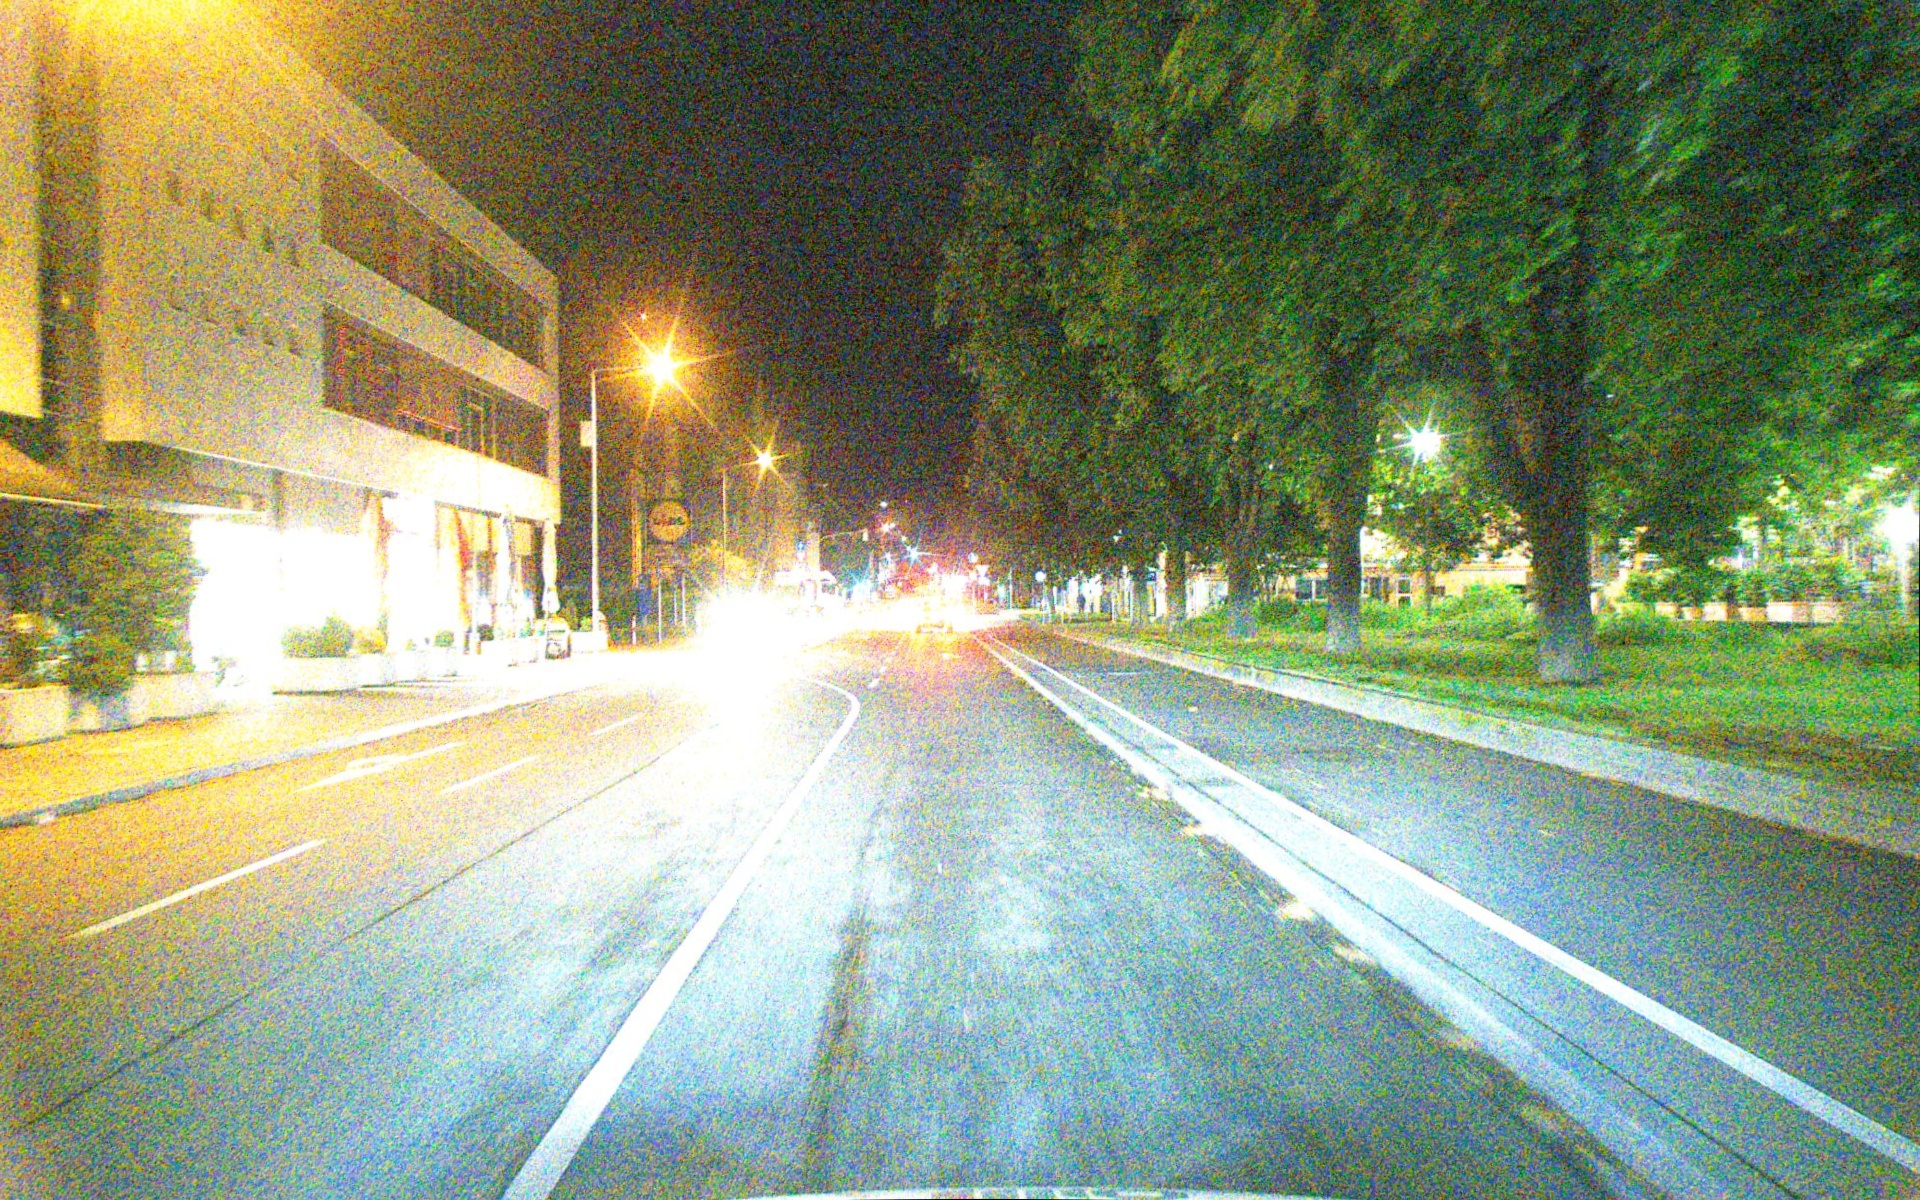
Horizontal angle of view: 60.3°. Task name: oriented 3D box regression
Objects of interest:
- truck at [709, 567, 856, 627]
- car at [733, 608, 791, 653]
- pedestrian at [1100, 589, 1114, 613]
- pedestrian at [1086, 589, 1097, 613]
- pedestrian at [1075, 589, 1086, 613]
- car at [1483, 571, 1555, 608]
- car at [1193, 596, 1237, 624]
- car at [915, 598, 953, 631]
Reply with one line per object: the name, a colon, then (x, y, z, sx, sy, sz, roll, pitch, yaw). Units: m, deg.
truck: (-12.404, -0.216, 116.259, 9.873, 3.783, 2.764, -3, 0, 0)
car: (-6.925, 1.053, 58.118, 1.633, 1.453, 3.998, -3, 0, -2)
pedestrian: (11.106, 0.091, 124.881, 0.883, 1.800, 0.906, -2, 0, -6)
pedestrian: (9.935, 0.100, 124.841, 0.724, 1.800, 0.906, -2, 0, -2)
pedestrian: (9.099, 0.049, 124.909, 0.699, 1.800, 0.906, -2, 0, -2)
car: (24.955, -0.460, 73.975, 1.732, 1.560, 4.097, -2, 0, -1)
car: (13.321, 0.515, 86.594, 1.482, 1.419, 4.480, -1, 0, -2)
car: (-1.266, 0.697, 81.306, 1.768, 1.520, 4.729, 1, 0, -1)
